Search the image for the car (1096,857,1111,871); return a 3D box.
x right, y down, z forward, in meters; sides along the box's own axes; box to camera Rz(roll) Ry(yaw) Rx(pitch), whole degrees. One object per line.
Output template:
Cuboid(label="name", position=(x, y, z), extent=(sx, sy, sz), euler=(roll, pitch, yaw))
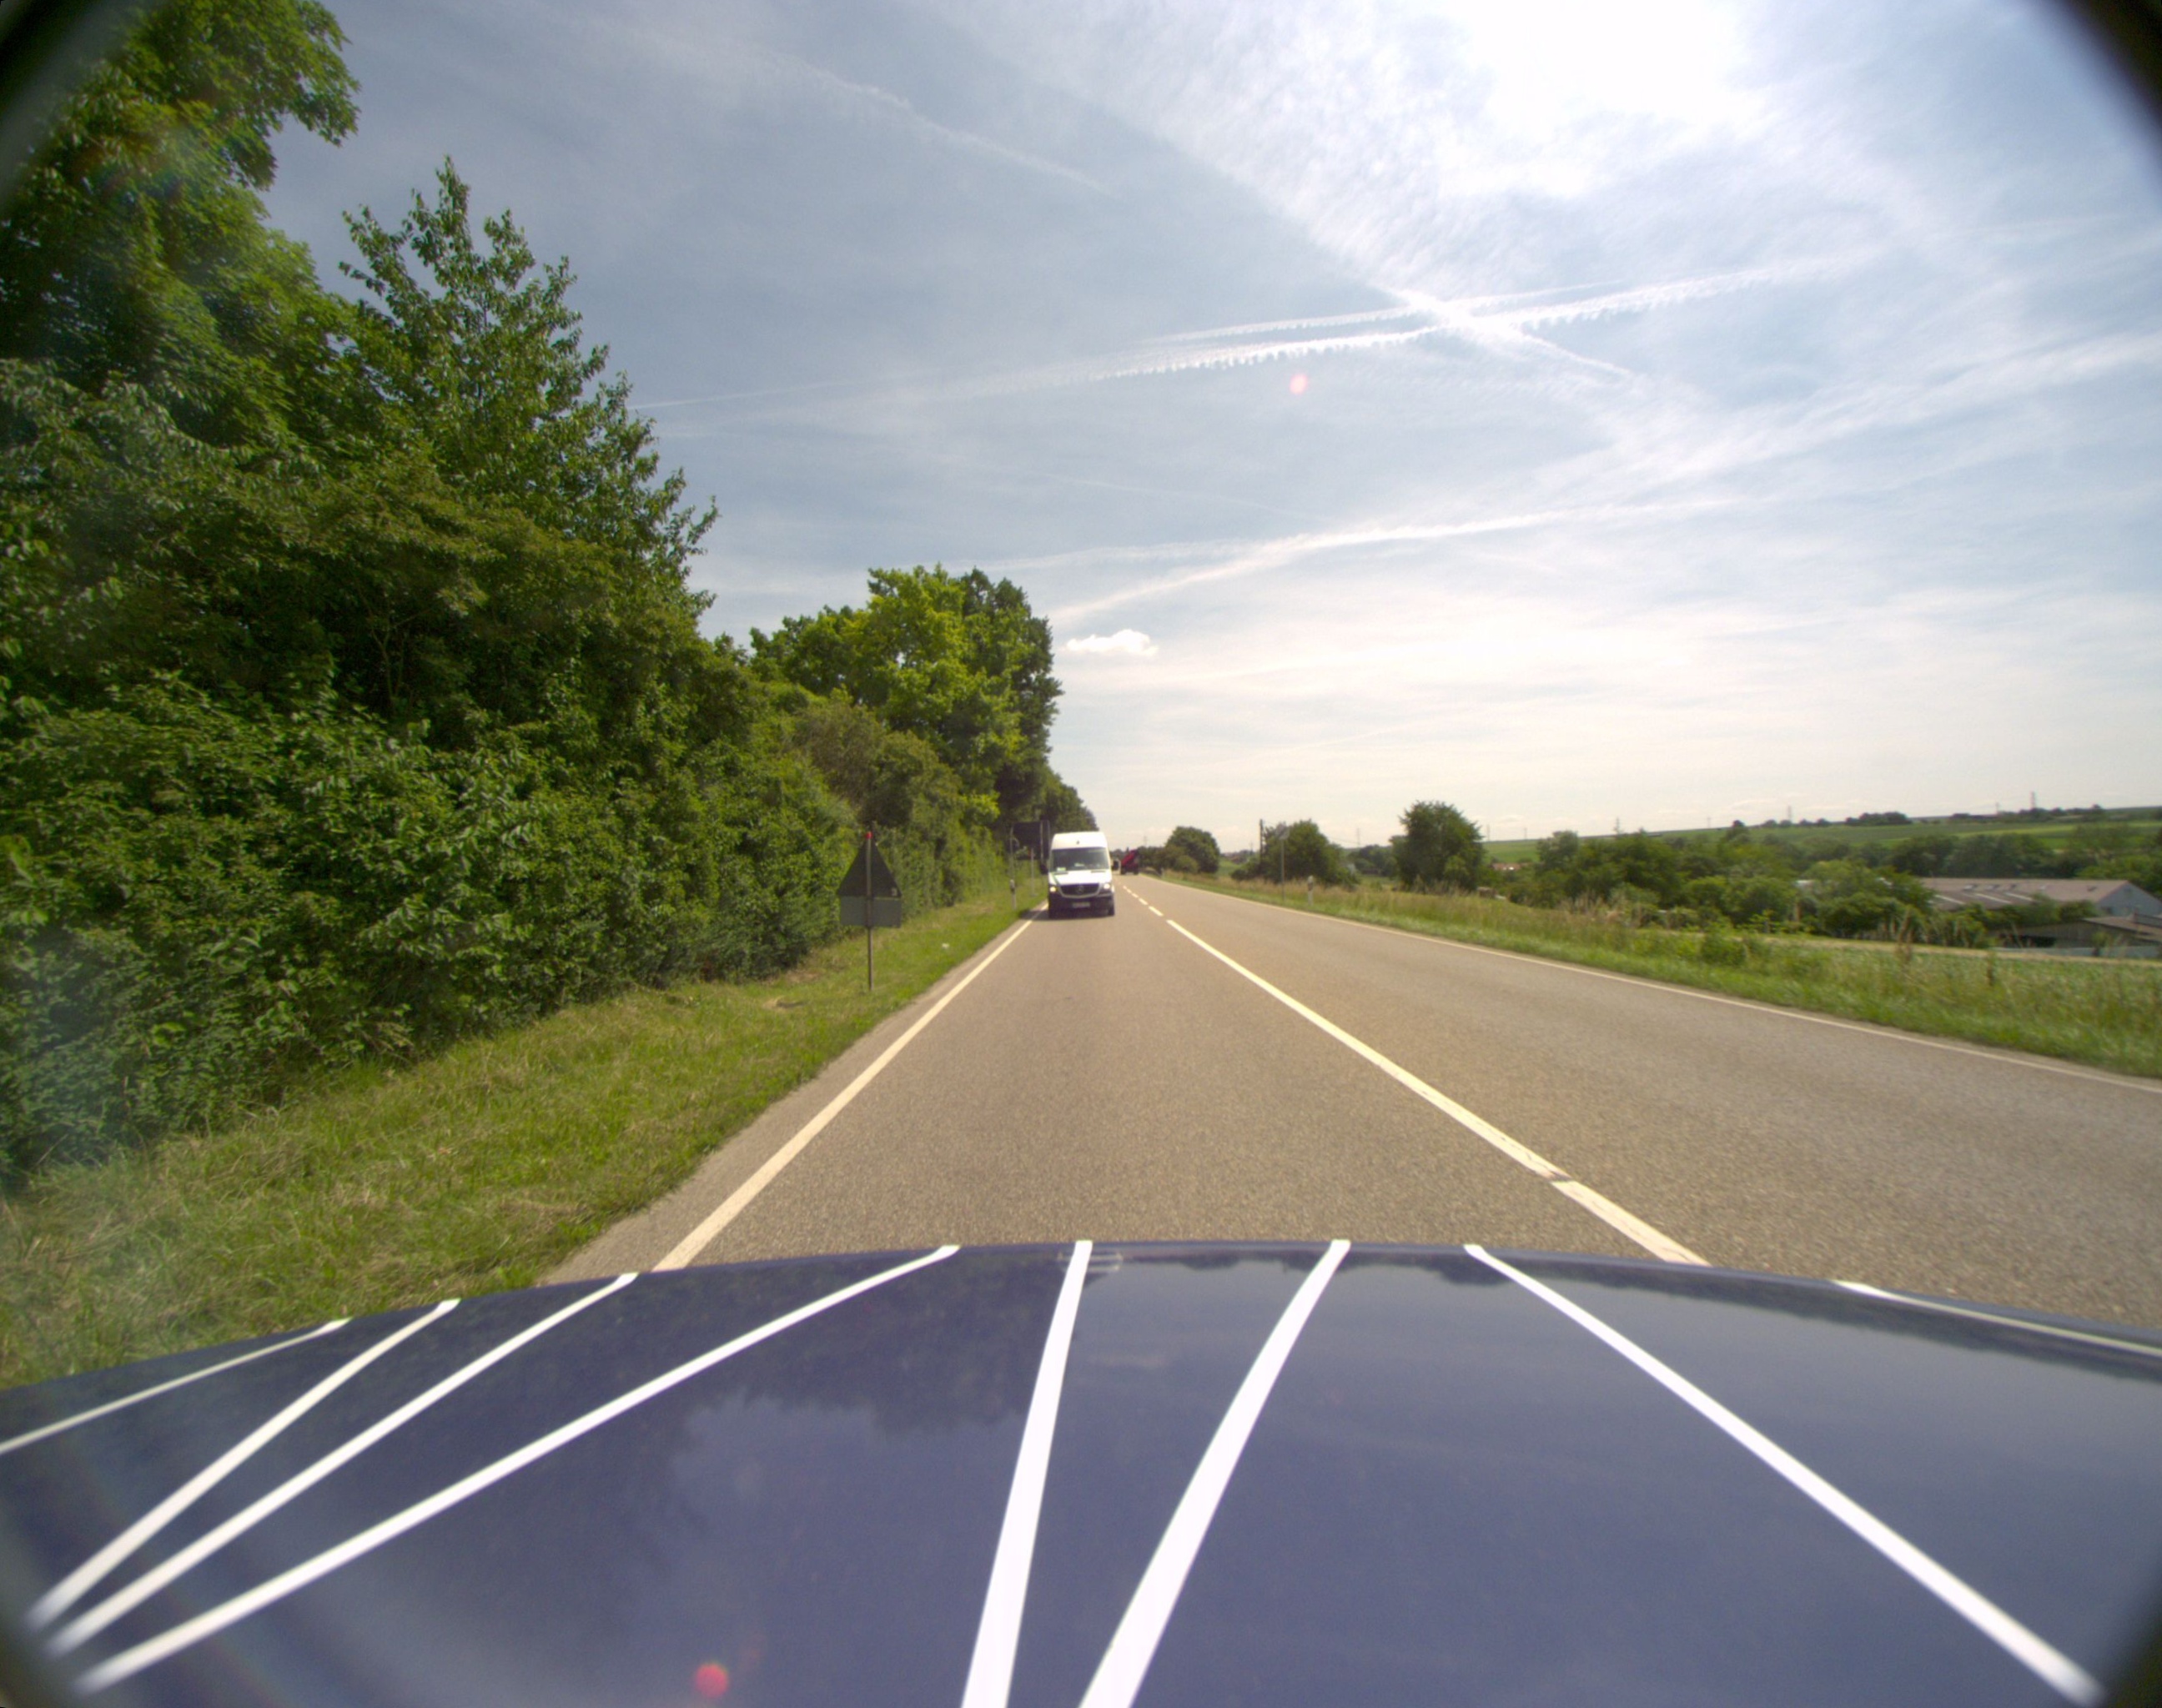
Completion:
Cuboid(label="car", position=(3.447, 1.496, 116.987), extent=(1.998, 2.002, 4.002), euler=(2, 0, 5))

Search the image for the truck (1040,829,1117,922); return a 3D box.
Cuboid(label="truck", position=(0.092, 0.628, 25.165), extent=(2.022, 2.567, 7.227), euler=(-3, 0, 3))

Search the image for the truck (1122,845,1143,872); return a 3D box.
Cuboid(label="truck", position=(7.315, 0.662, 108.422), extent=(2.762, 3.555, 11.069), euler=(1, -1, 3))
